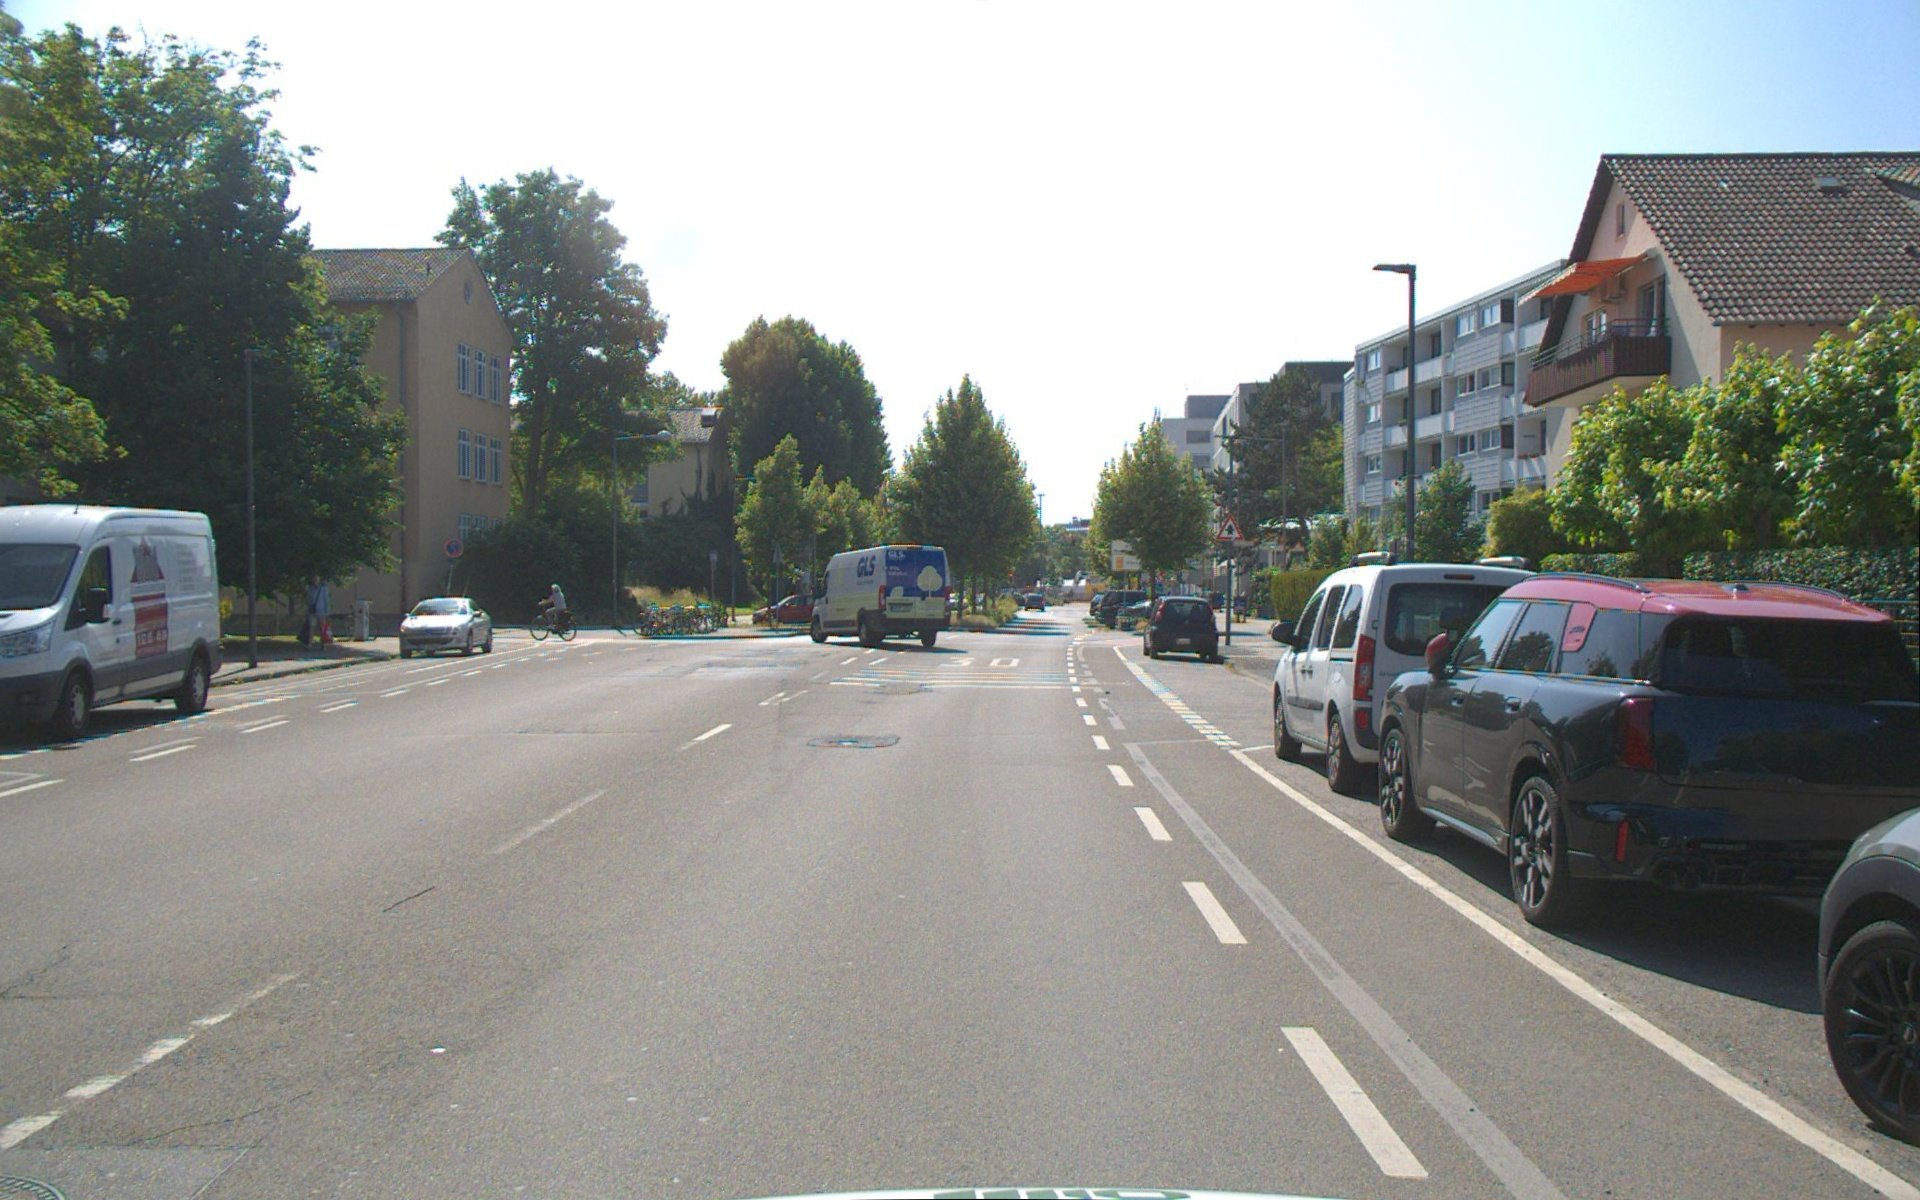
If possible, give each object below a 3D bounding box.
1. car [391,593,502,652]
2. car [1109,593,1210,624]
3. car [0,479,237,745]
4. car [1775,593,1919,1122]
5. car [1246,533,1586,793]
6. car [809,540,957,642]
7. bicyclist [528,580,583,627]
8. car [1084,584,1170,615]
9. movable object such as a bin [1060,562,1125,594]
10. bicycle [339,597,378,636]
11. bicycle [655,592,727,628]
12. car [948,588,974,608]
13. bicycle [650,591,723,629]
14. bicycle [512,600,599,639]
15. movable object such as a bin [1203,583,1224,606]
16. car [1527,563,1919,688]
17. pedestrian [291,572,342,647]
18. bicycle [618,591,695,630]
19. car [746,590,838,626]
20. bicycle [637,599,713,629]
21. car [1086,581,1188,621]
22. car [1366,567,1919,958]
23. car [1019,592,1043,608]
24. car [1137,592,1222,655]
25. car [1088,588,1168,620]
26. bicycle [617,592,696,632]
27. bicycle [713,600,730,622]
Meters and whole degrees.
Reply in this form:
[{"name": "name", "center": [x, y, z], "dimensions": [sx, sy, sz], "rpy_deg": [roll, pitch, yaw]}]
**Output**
[{"name": "car", "center": [-12.475, 0.507, 40.390], "dimensions": [1.686, 1.289, 3.997], "rpy_deg": [-1, 1, -4]}, {"name": "car", "center": [8.390, 0.338, 69.570], "dimensions": [3.932, 1.258, 1.741], "rpy_deg": [0, 0, -23]}, {"name": "car", "center": [-10.179, 0.086, 18.680], "dimensions": [2.049, 2.540, 5.943], "rpy_deg": [-1, 1, -7]}, {"name": "car", "center": [3.615, 0.735, 3.375], "dimensions": [1.727, 1.469, 4.066], "rpy_deg": [-1, 1, -3]}, {"name": "car", "center": [3.773, 0.475, 14.526], "dimensions": [1.726, 1.858, 4.598], "rpy_deg": [2, 0, 1]}, {"name": "car", "center": [-2.205, -0.240, 45.051], "dimensions": [2.243, 2.568, 6.097], "rpy_deg": [-1, 0, -21]}, {"name": "bicyclist", "center": [-12.443, 0.107, 50.928], "dimensions": [1.323, 1.428, 0.960], "rpy_deg": [-1, 1, 20]}, {"name": "car", "center": [9.295, -0.026, 91.779], "dimensions": [4.681, 1.689, 1.735], "rpy_deg": [0, 0, -31]}, {"name": "movable object such as a bin", "center": [19.684, -3.251, 245.685], "dimensions": [9.470, 4.629, 3.166], "rpy_deg": [0, 0, 5]}, {"name": "bicycle", "center": [-17.390, 0.471, 47.779], "dimensions": [1.687, 1.100, 0.375], "rpy_deg": [1, 1, 45]}, {"name": "bicycle", "center": [-9.791, 0.355, 60.256], "dimensions": [2.492, 1.278, 0.740], "rpy_deg": [0, 0, 1]}, {"name": "car", "center": [0.107, -0.168, 130.949], "dimensions": [1.705, 1.574, 4.075], "rpy_deg": [-1, 0, 4]}, {"name": "bicycle", "center": [-9.816, 0.355, 59.318], "dimensions": [2.463, 1.278, 0.740], "rpy_deg": [-1, 1, 1]}, {"name": "bicycle", "center": [-12.457, 0.600, 50.947], "dimensions": [2.491, 1.132, 0.960], "rpy_deg": [-1, 1, 19]}, {"name": "movable object such as a bin", "center": [18.887, -0.404, 123.341], "dimensions": [1.280, 1.620, 1.396], "rpy_deg": [-2, 0, 1]}, {"name": "car", "center": [11.210, 0.355, 24.439], "dimensions": [4.982, 1.735, 1.979], "rpy_deg": [0, 0, 0]}, {"name": "pedestrian", "center": [-15.533, 0.228, 39.937], "dimensions": [0.953, 1.811, 0.725], "rpy_deg": [0, 0, 0]}, {"name": "bicycle", "center": [-10.421, 0.357, 56.812], "dimensions": [2.492, 1.261, 0.740], "rpy_deg": [-1, 1, 1]}, {"name": "car", "center": [-7.756, 0.354, 76.167], "dimensions": [3.924, 1.492, 1.990], "rpy_deg": [-1, 1, -18]}, {"name": "bicycle", "center": [-9.961, 0.484, 57.876], "dimensions": [2.492, 1.005, 0.740], "rpy_deg": [-1, 1, 1]}, {"name": "car", "center": [7.754, 0.039, 72.324], "dimensions": [4.063, 1.668, 2.024], "rpy_deg": [0, 0, -30]}, {"name": "car", "center": [3.568, 0.637, 8.998], "dimensions": [1.726, 1.621, 4.314], "rpy_deg": [0, 1, 1]}, {"name": "car", "center": [6.169, 0.001, 144.064], "dimensions": [1.952, 1.422, 4.000], "rpy_deg": [0, 0, 0]}, {"name": "car", "center": [5.252, 0.534, 39.965], "dimensions": [1.583, 1.414, 4.001], "rpy_deg": [1, 0, 2]}, {"name": "car", "center": [8.761, 0.200, 86.369], "dimensions": [3.913, 1.668, 1.749], "rpy_deg": [0, 0, -9]}, {"name": "bicycle", "center": [-10.200, 0.402, 55.652], "dimensions": [2.492, 1.278, 0.740], "rpy_deg": [-1, 1, 1]}, {"name": "bicycle", "center": [-9.898, 0.462, 68.610], "dimensions": [0.510, 0.919, 1.270], "rpy_deg": [-1, 0, -1]}]
